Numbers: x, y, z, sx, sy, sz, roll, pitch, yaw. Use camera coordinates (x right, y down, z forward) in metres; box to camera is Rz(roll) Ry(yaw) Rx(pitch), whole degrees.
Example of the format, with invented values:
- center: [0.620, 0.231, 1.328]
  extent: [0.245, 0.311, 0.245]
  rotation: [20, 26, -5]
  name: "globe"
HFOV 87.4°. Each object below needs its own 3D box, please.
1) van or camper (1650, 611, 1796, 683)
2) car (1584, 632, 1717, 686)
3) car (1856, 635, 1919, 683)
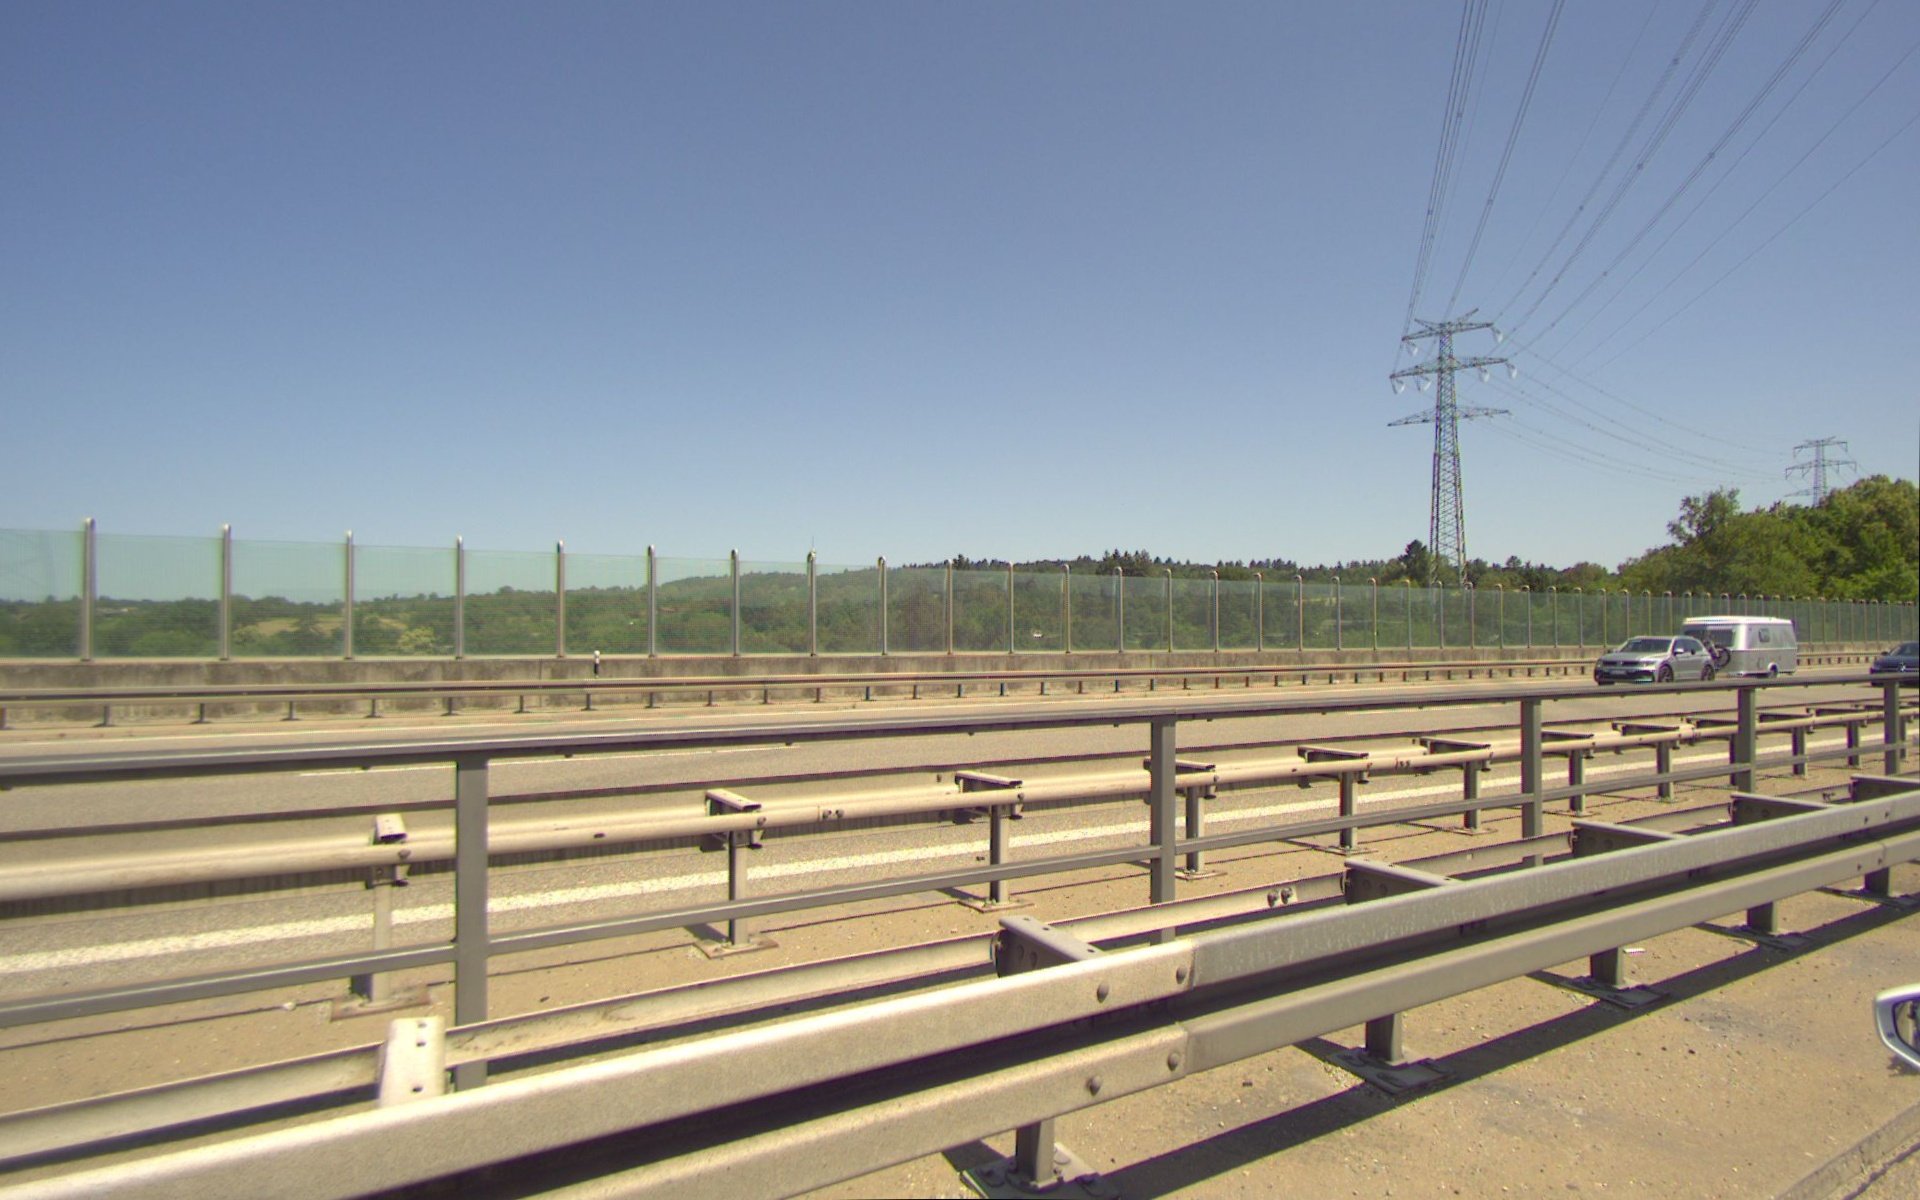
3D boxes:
- center: [25.607, 1.595, 33.656]
  extent: [5.474, 2.240, 1.984]
  rotation: [2, -4, -31]
  name: "van or camper"
- center: [21.442, 1.830, 31.159]
  extent: [4.153, 1.565, 1.847]
  rotation: [2, -4, -32]
  name: "car"
- center: [30.277, 1.852, 31.525]
  extent: [4.620, 1.415, 1.847]
  rotation: [2, -4, -30]
  name: "car"
